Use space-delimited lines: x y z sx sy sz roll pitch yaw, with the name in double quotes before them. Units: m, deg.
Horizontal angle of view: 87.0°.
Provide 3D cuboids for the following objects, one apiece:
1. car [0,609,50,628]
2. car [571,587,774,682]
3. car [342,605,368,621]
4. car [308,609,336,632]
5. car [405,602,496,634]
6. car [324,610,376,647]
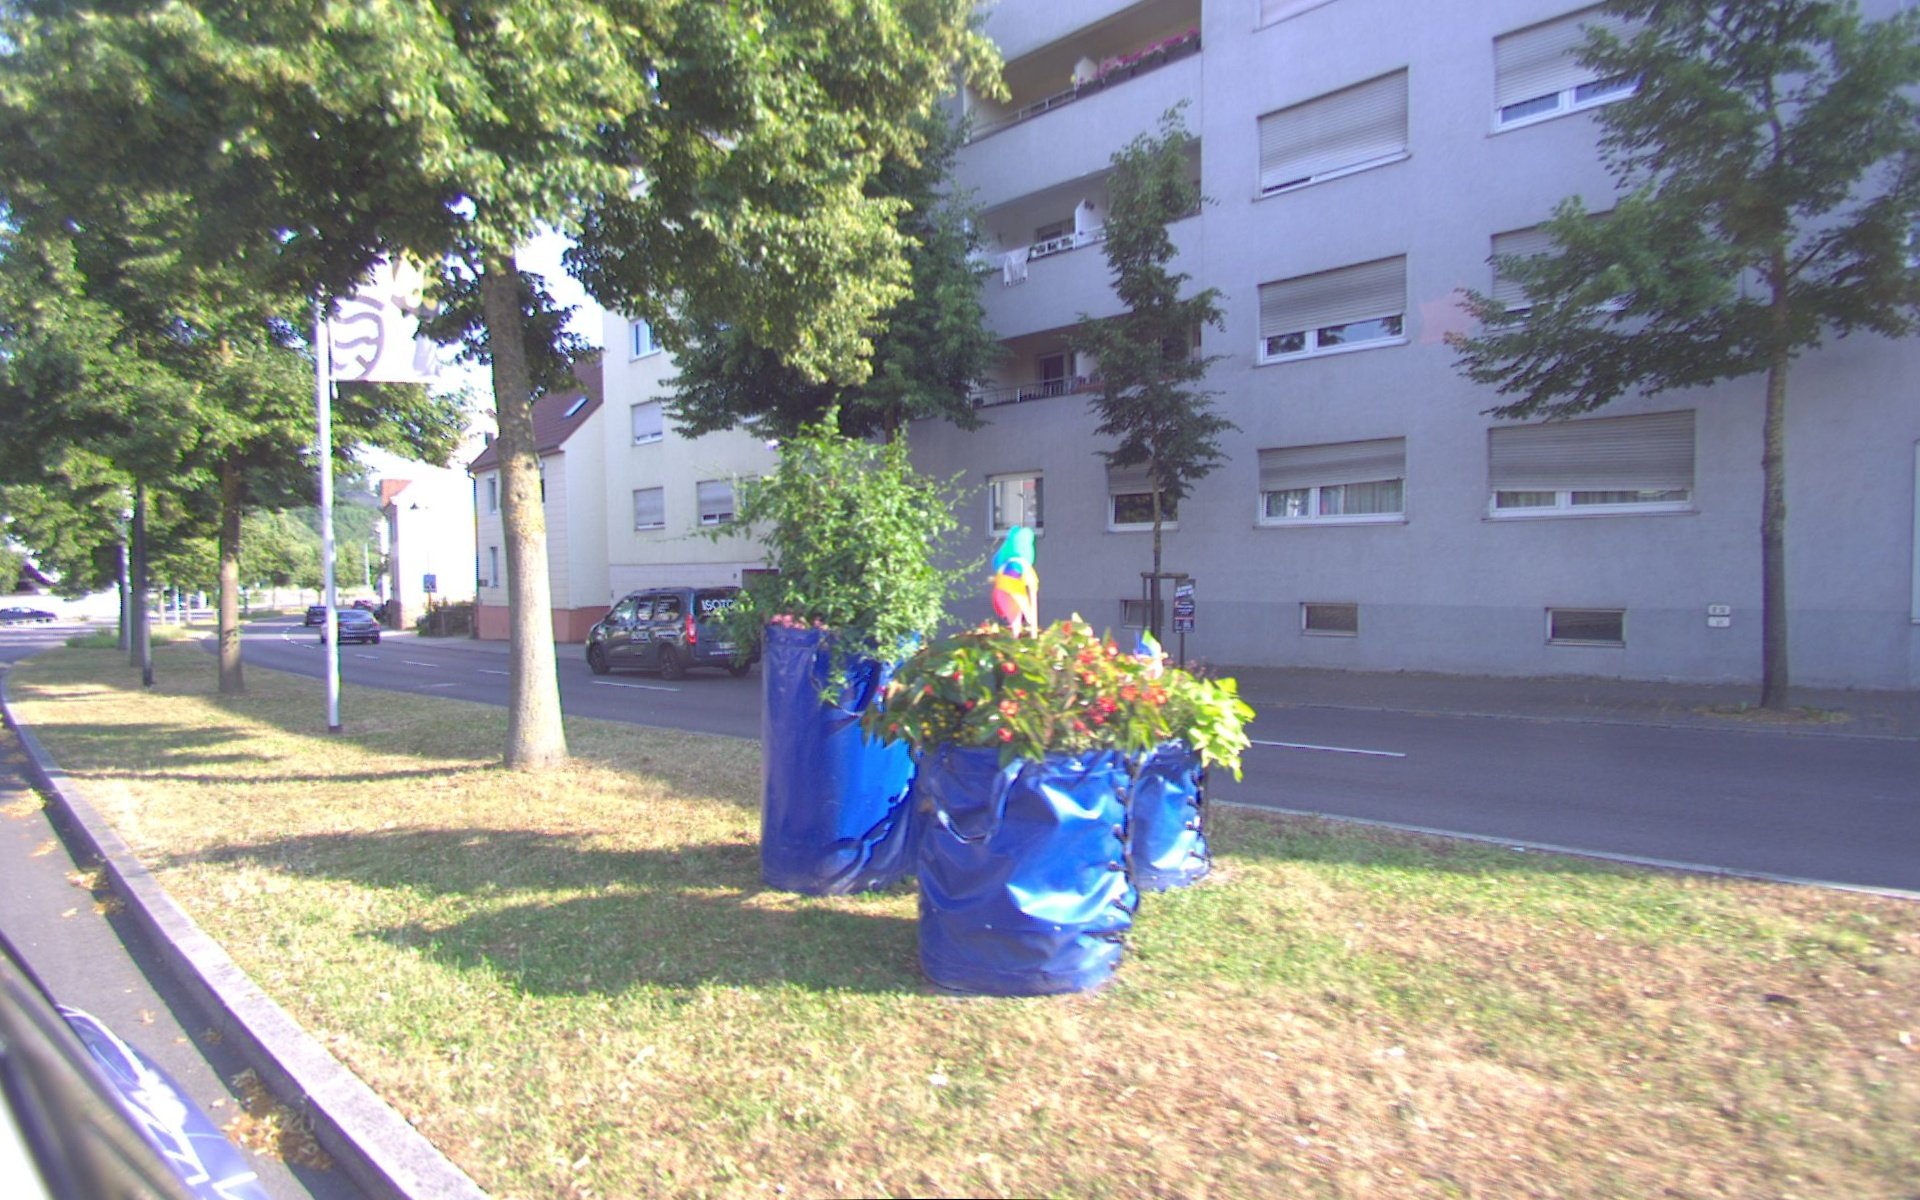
"car" -77.095 1.514 82.557 3.772 1.430 1.944 -2 1 -26
"car" -6.073 0.651 21.019 4.924 1.749 1.832 -1 0 44
"car" -59.715 1.270 99.982 1.912 1.497 4.338 0 0 -27
"car" -44.179 1.416 70.132 1.583 1.497 3.795 0 0 -32
"car" -27.760 0.945 55.277 4.285 1.497 2.018 -2 1 -23
"car" -26.404 1.187 43.825 1.827 1.497 5.011 0 0 -31
